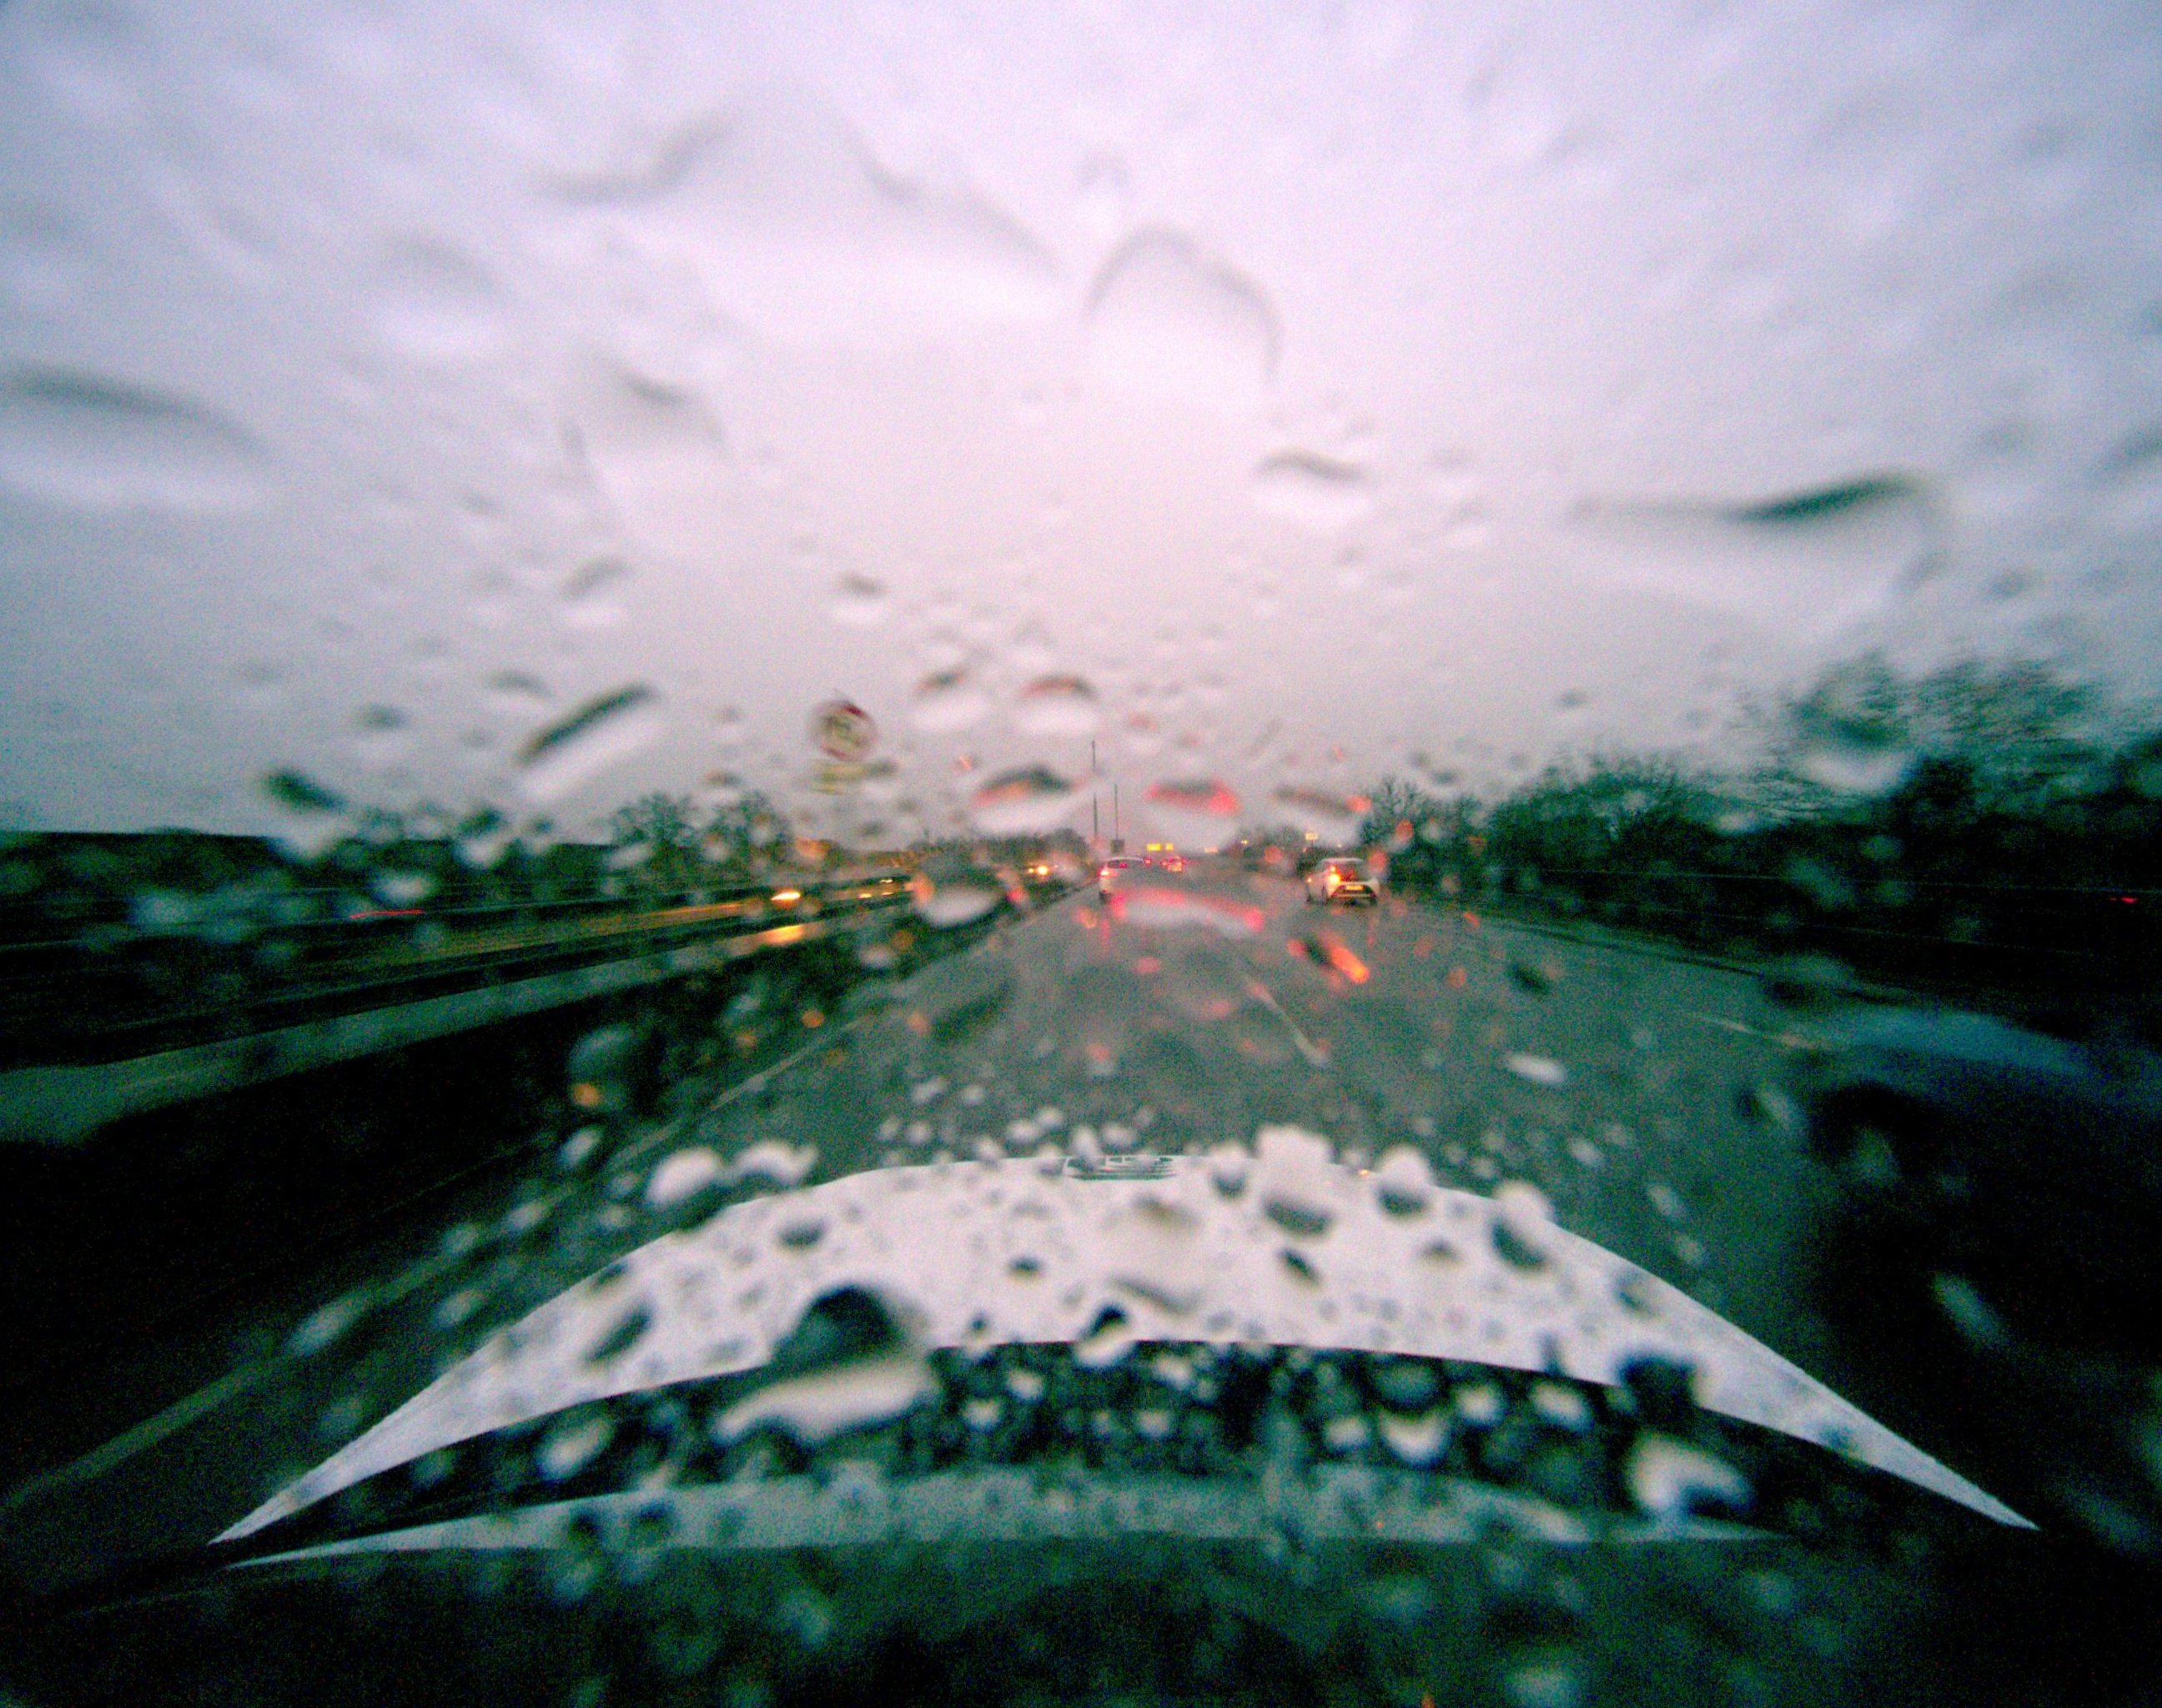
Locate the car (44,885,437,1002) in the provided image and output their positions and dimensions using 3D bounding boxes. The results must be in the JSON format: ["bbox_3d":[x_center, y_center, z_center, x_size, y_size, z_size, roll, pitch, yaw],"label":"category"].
[{"bbox_3d":[-13.796,1.363,13.875,1.886,1.464,4.463,-2,0,3],"label":"car"}]

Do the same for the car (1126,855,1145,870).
[{"bbox_3d":[5.606,0.855,83.986,1.780,1.545,4.006,-1,0,6],"label":"car"}]

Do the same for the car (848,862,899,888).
[{"bbox_3d":[-12.506,1.235,49.314,1.887,1.464,4.002,-2,0,2],"label":"car"}]

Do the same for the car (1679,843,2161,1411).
[{"bbox_3d":[3.851,0.715,1.927,1.985,1.500,4.141,-1,0,3],"label":"car"}]

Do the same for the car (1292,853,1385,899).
[{"bbox_3d":[8.377,0.671,26.828,1.985,1.345,4.004,-1,0,3],"label":"car"}]

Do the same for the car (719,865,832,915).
[{"bbox_3d":[-10.544,1.190,28.543,1.886,1.464,4.833,-2,0,3],"label":"car"}]

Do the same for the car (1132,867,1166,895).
[{"bbox_3d":[4.219,1.648,50.764,1.985,1.601,4.313,0,0,4],"label":"car"}]

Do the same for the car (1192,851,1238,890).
[{"bbox_3d":[6.429,0.752,39.357,1.888,1.767,4.315,-1,0,5],"label":"car"}]

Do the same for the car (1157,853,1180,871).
[{"bbox_3d":[7.792,0.685,72.617,1.782,1.545,4.003,-1,0,3],"label":"car"}]

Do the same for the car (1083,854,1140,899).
[{"bbox_3d":[1.135,0.745,28.668,1.715,1.440,4.232,-1,0,5],"label":"car"}]

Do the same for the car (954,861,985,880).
[{"bbox_3d":[-9.471,1.369,69.424,1.887,1.464,4.002,-2,0,2],"label":"car"}]
